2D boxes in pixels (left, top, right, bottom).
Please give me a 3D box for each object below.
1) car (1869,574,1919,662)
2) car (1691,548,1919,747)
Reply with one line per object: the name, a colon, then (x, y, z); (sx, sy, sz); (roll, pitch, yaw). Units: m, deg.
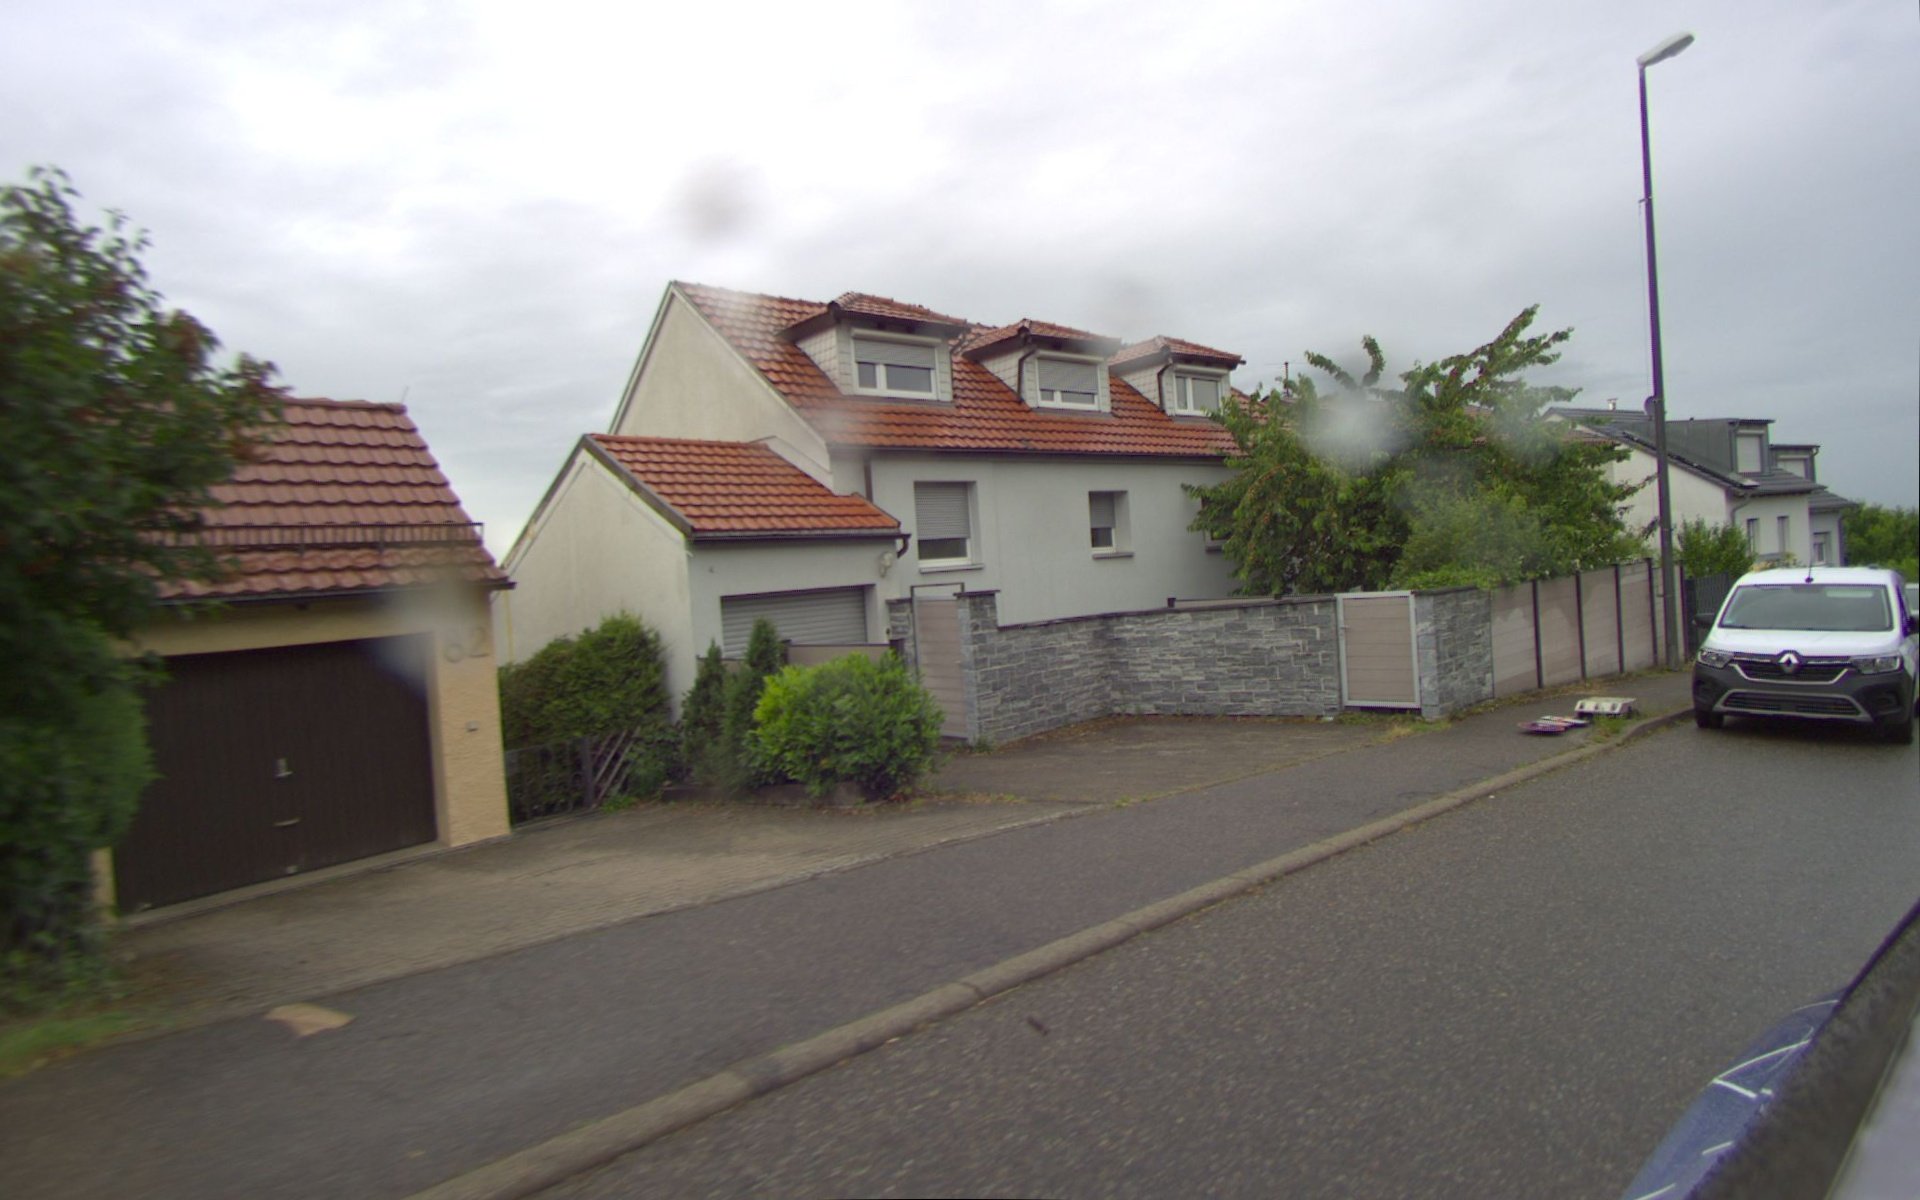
car: (19.709, 0.317, 20.101); (4.211, 1.646, 1.809); (-1, 2, -39)
car: (9.884, 0.394, 11.488); (4.630, 1.826, 1.780); (-1, 1, -44)
